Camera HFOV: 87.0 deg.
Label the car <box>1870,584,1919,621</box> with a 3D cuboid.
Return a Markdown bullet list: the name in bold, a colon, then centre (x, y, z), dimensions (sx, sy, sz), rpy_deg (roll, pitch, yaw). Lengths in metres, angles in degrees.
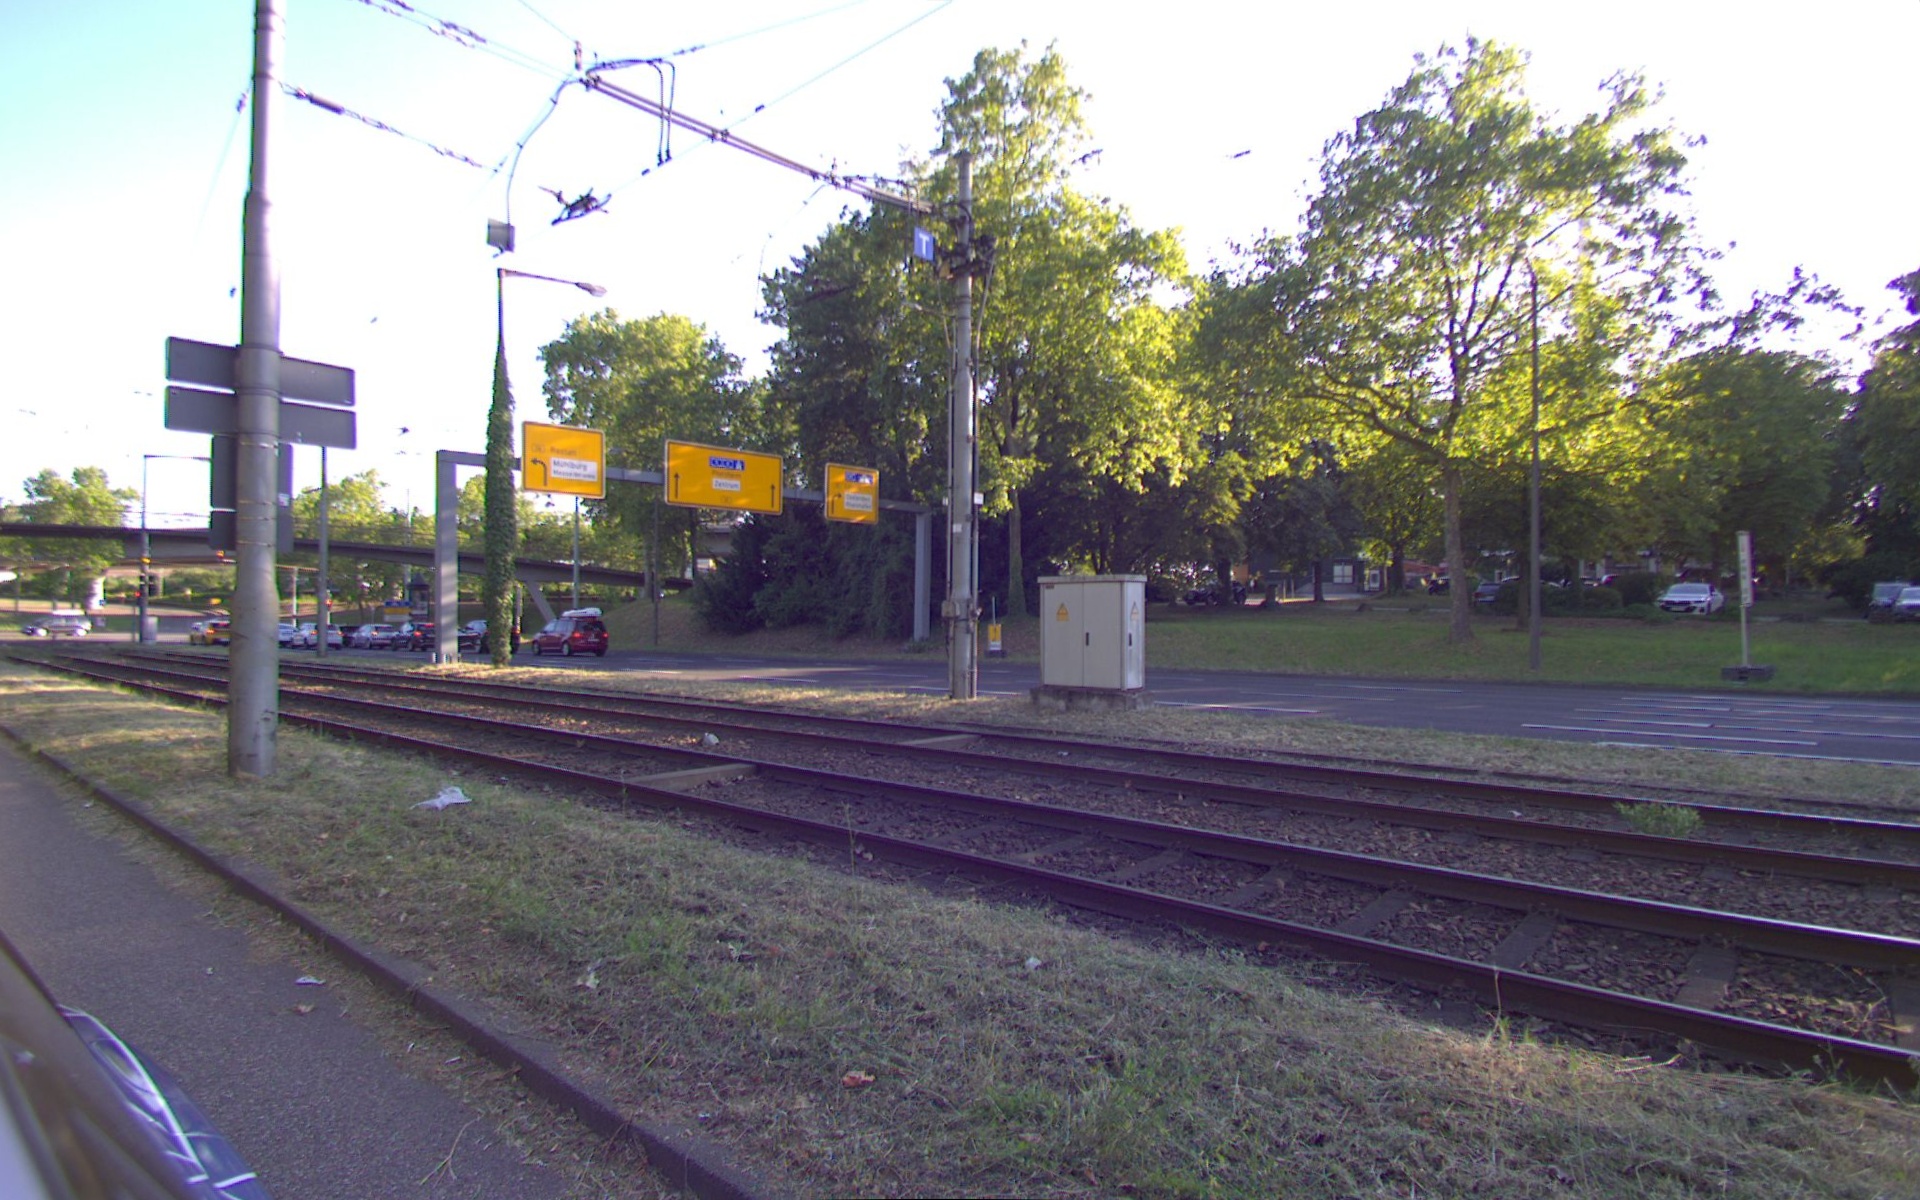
- **car**: centre (43.965, 0.088, 47.234), dimensions (3.998, 1.628, 1.864), rpy_deg (-1, 0, -43)

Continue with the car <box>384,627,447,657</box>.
- **car**: centre (-29.358, 2.231, 54.543), dimensions (3.971, 1.569, 1.733), rpy_deg (-2, -3, 42)

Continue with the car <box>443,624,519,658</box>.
- **car**: centre (-23.201, 1.957, 48.952), dimensions (4.332, 1.556, 1.713), rpy_deg (-1, -2, 41)

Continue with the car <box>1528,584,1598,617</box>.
- **car**: centre (28.422, 0.010, 47.666), dimensions (1.942, 1.521, 4.039), rpy_deg (0, 0, 44)

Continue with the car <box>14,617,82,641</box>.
- **car**: centre (-75.038, 2.354, 83.309), dimensions (1.668, 1.779, 3.779), rpy_deg (0, 0, 26)

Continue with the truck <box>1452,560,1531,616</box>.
- **truck**: centre (31.740, -0.695, 60.293), dimensions (2.503, 3.191, 6.137), rpy_deg (0, 0, 45)

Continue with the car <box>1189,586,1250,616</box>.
- **car**: centre (15.392, 0.056, 59.967), dimensions (1.791, 1.657, 3.942), rpy_deg (-1, -1, 44)

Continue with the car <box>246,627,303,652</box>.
- **car**: centre (-40.847, 2.327, 60.261), dimensions (4.226, 1.435, 1.893), rpy_deg (-1, -1, 42)

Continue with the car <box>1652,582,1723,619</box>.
- **car**: centre (31.558, -0.003, 43.853), dimensions (1.942, 1.521, 4.039), rpy_deg (0, 0, 44)

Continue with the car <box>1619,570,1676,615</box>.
- **car**: centre (36.882, -0.407, 54.248), dimensions (2.161, 2.320, 4.348), rpy_deg (0, 0, 40)

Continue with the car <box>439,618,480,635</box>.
- **car**: centre (-51.320, 2.725, 103.765), dimensions (3.747, 1.591, 1.683), rpy_deg (-1, 0, -27)

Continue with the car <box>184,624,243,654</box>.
- **car**: centre (-40.807, 2.122, 55.268), dimensions (3.997, 1.556, 1.744), rpy_deg (-1, -1, 40)

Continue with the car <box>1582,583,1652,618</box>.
- **car**: centre (30.031, 0.001, 46.229), dimensions (1.942, 1.521, 4.039), rpy_deg (0, 0, 44)

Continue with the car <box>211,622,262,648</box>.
- **car**: centre (-45.841, 2.182, 64.057), dimensions (4.228, 1.561, 1.892), rpy_deg (-1, -2, 44)

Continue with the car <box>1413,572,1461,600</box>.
- **car**: centre (33.554, -1.002, 71.070), dimensions (2.290, 1.864, 5.214), rpy_deg (-1, 1, 34)

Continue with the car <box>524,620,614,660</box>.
- **car**: centre (-17.068, 1.718, 44.105), dimensions (4.308, 1.647, 1.818), rpy_deg (-1, -2, 40)

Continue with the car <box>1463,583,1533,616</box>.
- **car**: centre (26.166, -0.050, 49.195), dimensions (1.942, 1.521, 4.039), rpy_deg (0, 0, 44)

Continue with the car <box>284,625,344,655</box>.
- **car**: centre (-35.744, 2.203, 55.969), dimensions (3.997, 1.556, 1.744), rpy_deg (-1, -1, 40)

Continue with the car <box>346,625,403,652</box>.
- **car**: centre (-34.965, 2.269, 60.426), dimensions (3.998, 1.556, 1.789), rpy_deg (-1, -1, 41)

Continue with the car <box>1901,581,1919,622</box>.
- **car**: centre (37.576, 0.030, 38.901), dimensions (1.942, 1.521, 4.039), rpy_deg (0, 0, 44)

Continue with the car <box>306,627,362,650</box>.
- **car**: centre (-39.765, 2.423, 64.242), dimensions (4.224, 1.435, 1.844), rpy_deg (-1, -1, 40)

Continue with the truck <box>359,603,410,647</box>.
- **truck**: centre (-40.306, 1.738, 70.781), dimensions (2.248, 2.901, 6.895), rpy_deg (0, -1, -37)

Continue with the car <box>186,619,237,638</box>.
- **car**: centre (-69.273, 2.622, 93.733), dimensions (3.751, 1.591, 1.681), rpy_deg (-1, 0, -37)
